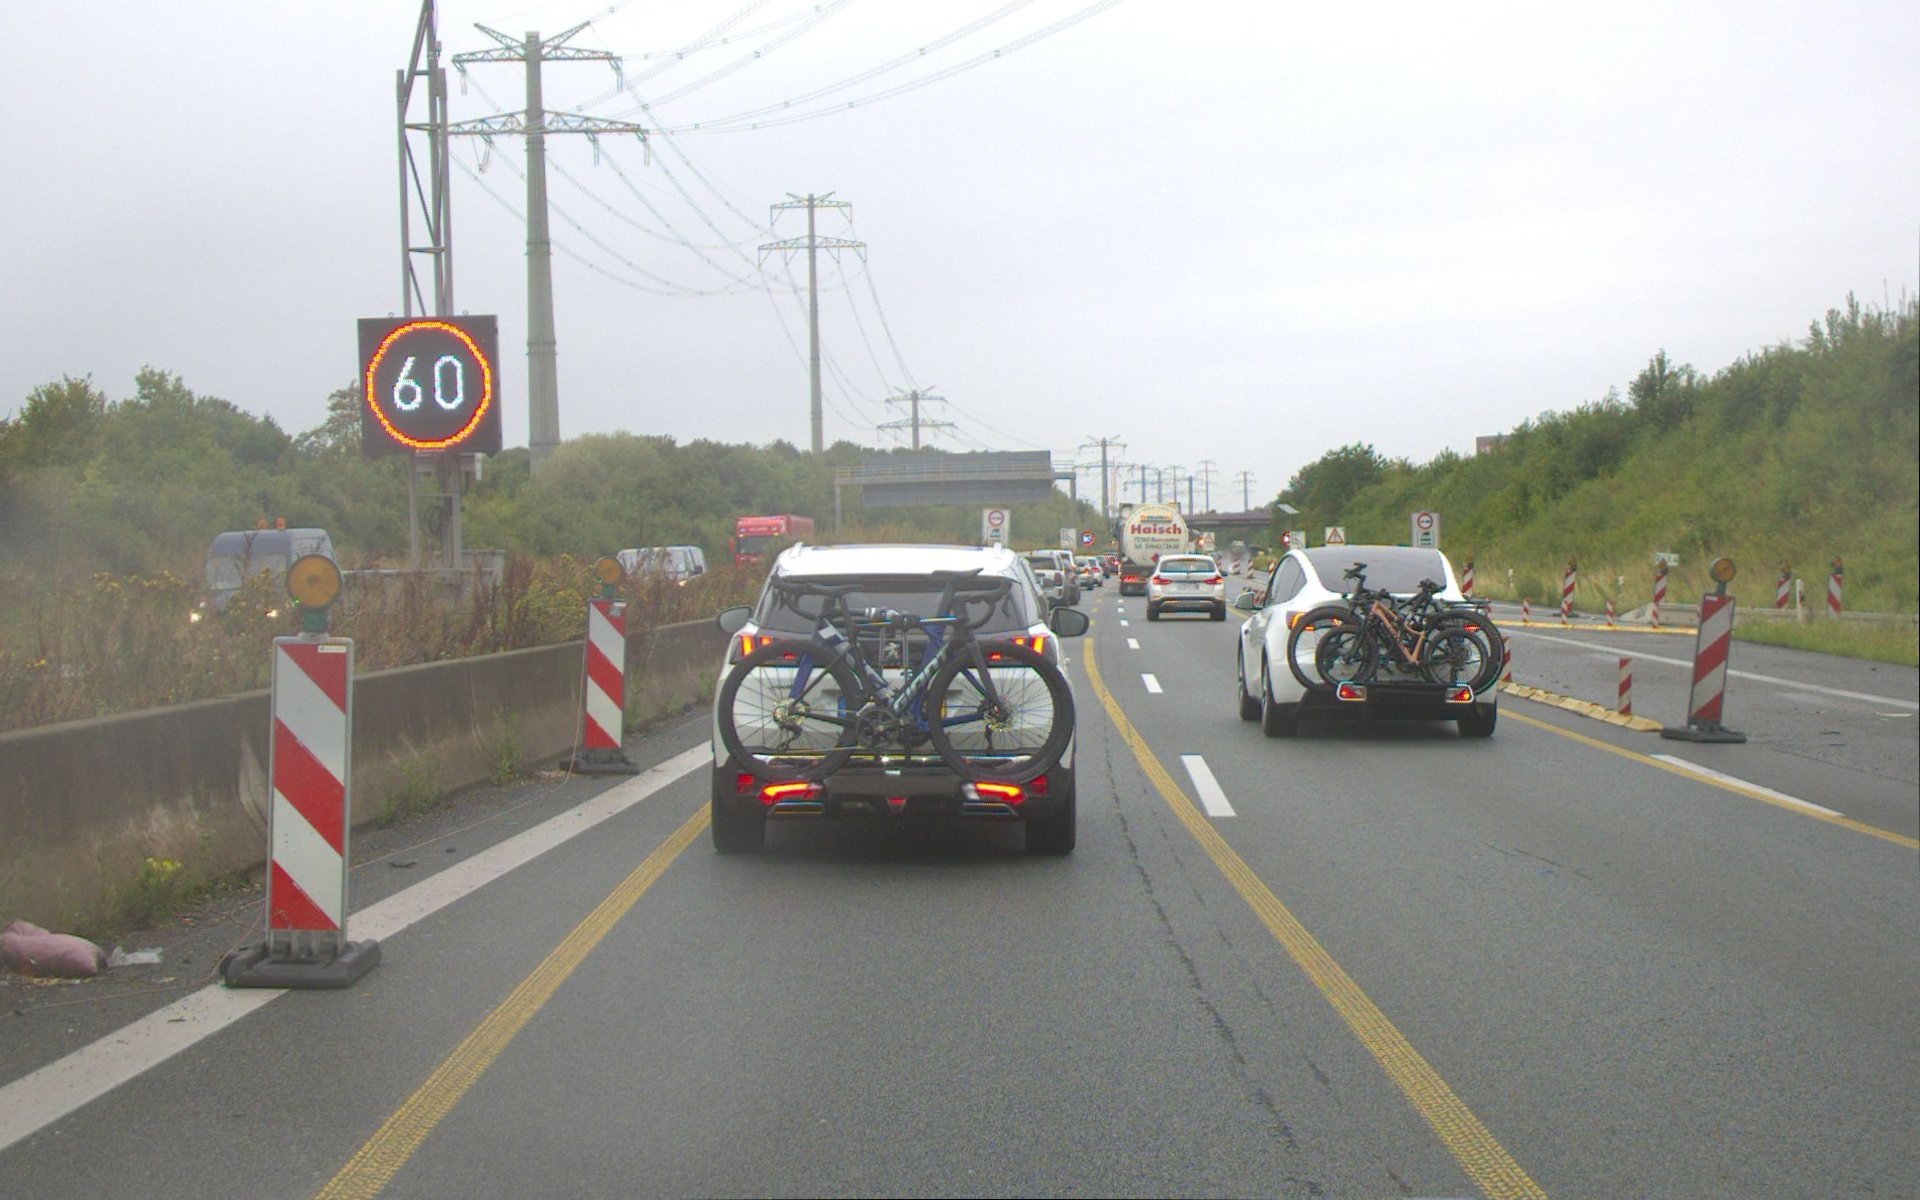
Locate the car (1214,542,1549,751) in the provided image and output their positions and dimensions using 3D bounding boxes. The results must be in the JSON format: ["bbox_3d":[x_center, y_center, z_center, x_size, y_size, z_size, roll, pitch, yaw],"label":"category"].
[{"bbox_3d":[3.478,0.324,29.527,2.045,1.590,5.802,1,1,-1],"label":"car"}]

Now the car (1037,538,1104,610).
[{"bbox_3d":[3.640,-0.899,114.049,1.993,2.006,4.002,1,6,-1],"label":"car"}]

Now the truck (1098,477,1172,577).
[{"bbox_3d":[6.972,-2.891,137.507,2.644,3.877,4.030,1,0,-1],"label":"truck"}]

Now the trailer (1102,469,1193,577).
[{"bbox_3d":[7.084,-2.867,131.030,2.637,3.880,10.544,1,0,-1],"label":"trailer"}]

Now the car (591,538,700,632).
[{"bbox_3d":[-7.028,-0.353,77.338,1.768,2.007,5.254,1,1,2],"label":"car"}]

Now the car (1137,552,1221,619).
[{"bbox_3d":[5.065,-0.357,79.989,1.870,1.529,4.196,0,1,2],"label":"car"}]

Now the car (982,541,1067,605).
[{"bbox_3d":[1.612,-0.701,87.113,1.993,1.578,4.000,0,1,-1],"label":"car"}]

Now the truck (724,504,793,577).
[{"bbox_3d":[-9.989,-2.941,171.103,3.024,3.519,4.926,1,0,1],"label":"truck"}]

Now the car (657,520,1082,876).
[{"bbox_3d":[-0.359,0.412,17.945,1.928,1.605,4.595,0,1,1],"label":"car"}]

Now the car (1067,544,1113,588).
[{"bbox_3d":[6.181,-1.611,163.768,1.993,2.007,4.000,1,0,-1],"label":"car"}]

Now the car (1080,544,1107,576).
[{"bbox_3d":[8.499,-2.533,219.066,1.654,2.007,4.000,0,1,3],"label":"car"}]

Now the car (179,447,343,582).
[{"bbox_3d":[-14.165,-1.691,70.021,2.050,2.600,5.847,1,0,1],"label":"car"}]

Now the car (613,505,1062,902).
[{"bbox_3d":[-0.535,0.434,17.604,1.993,1.754,4.000,-1,1,1],"label":"car"}]
